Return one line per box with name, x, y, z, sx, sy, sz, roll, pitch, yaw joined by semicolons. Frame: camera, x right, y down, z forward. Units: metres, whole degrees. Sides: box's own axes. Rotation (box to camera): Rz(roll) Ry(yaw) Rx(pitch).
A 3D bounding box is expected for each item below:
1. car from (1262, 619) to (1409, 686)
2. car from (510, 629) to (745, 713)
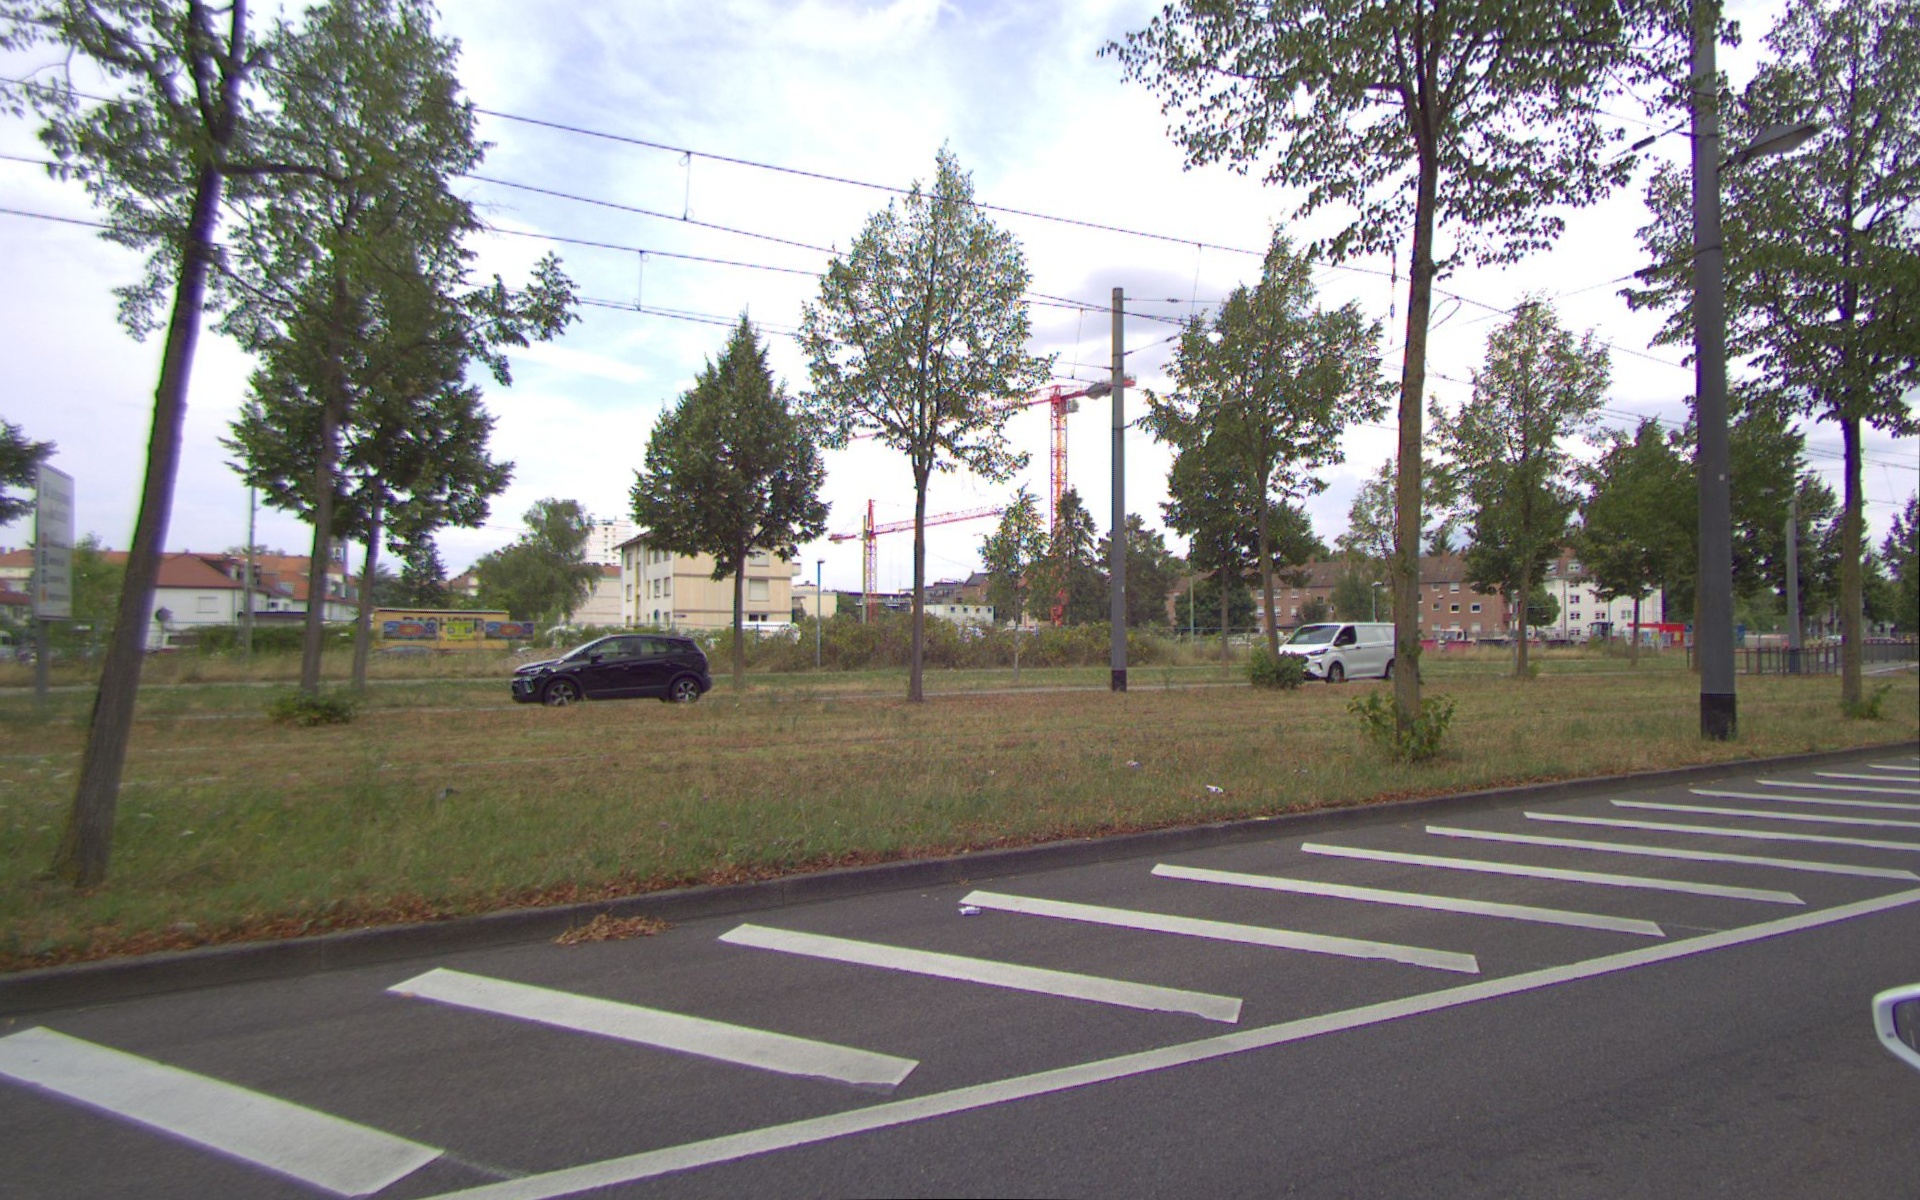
car;12.000;1.643;31.957;5.049;1.970;1.979;2;-2;-37
car;-7.264;1.489;22.096;4.639;1.678;1.818;1;-2;-32
